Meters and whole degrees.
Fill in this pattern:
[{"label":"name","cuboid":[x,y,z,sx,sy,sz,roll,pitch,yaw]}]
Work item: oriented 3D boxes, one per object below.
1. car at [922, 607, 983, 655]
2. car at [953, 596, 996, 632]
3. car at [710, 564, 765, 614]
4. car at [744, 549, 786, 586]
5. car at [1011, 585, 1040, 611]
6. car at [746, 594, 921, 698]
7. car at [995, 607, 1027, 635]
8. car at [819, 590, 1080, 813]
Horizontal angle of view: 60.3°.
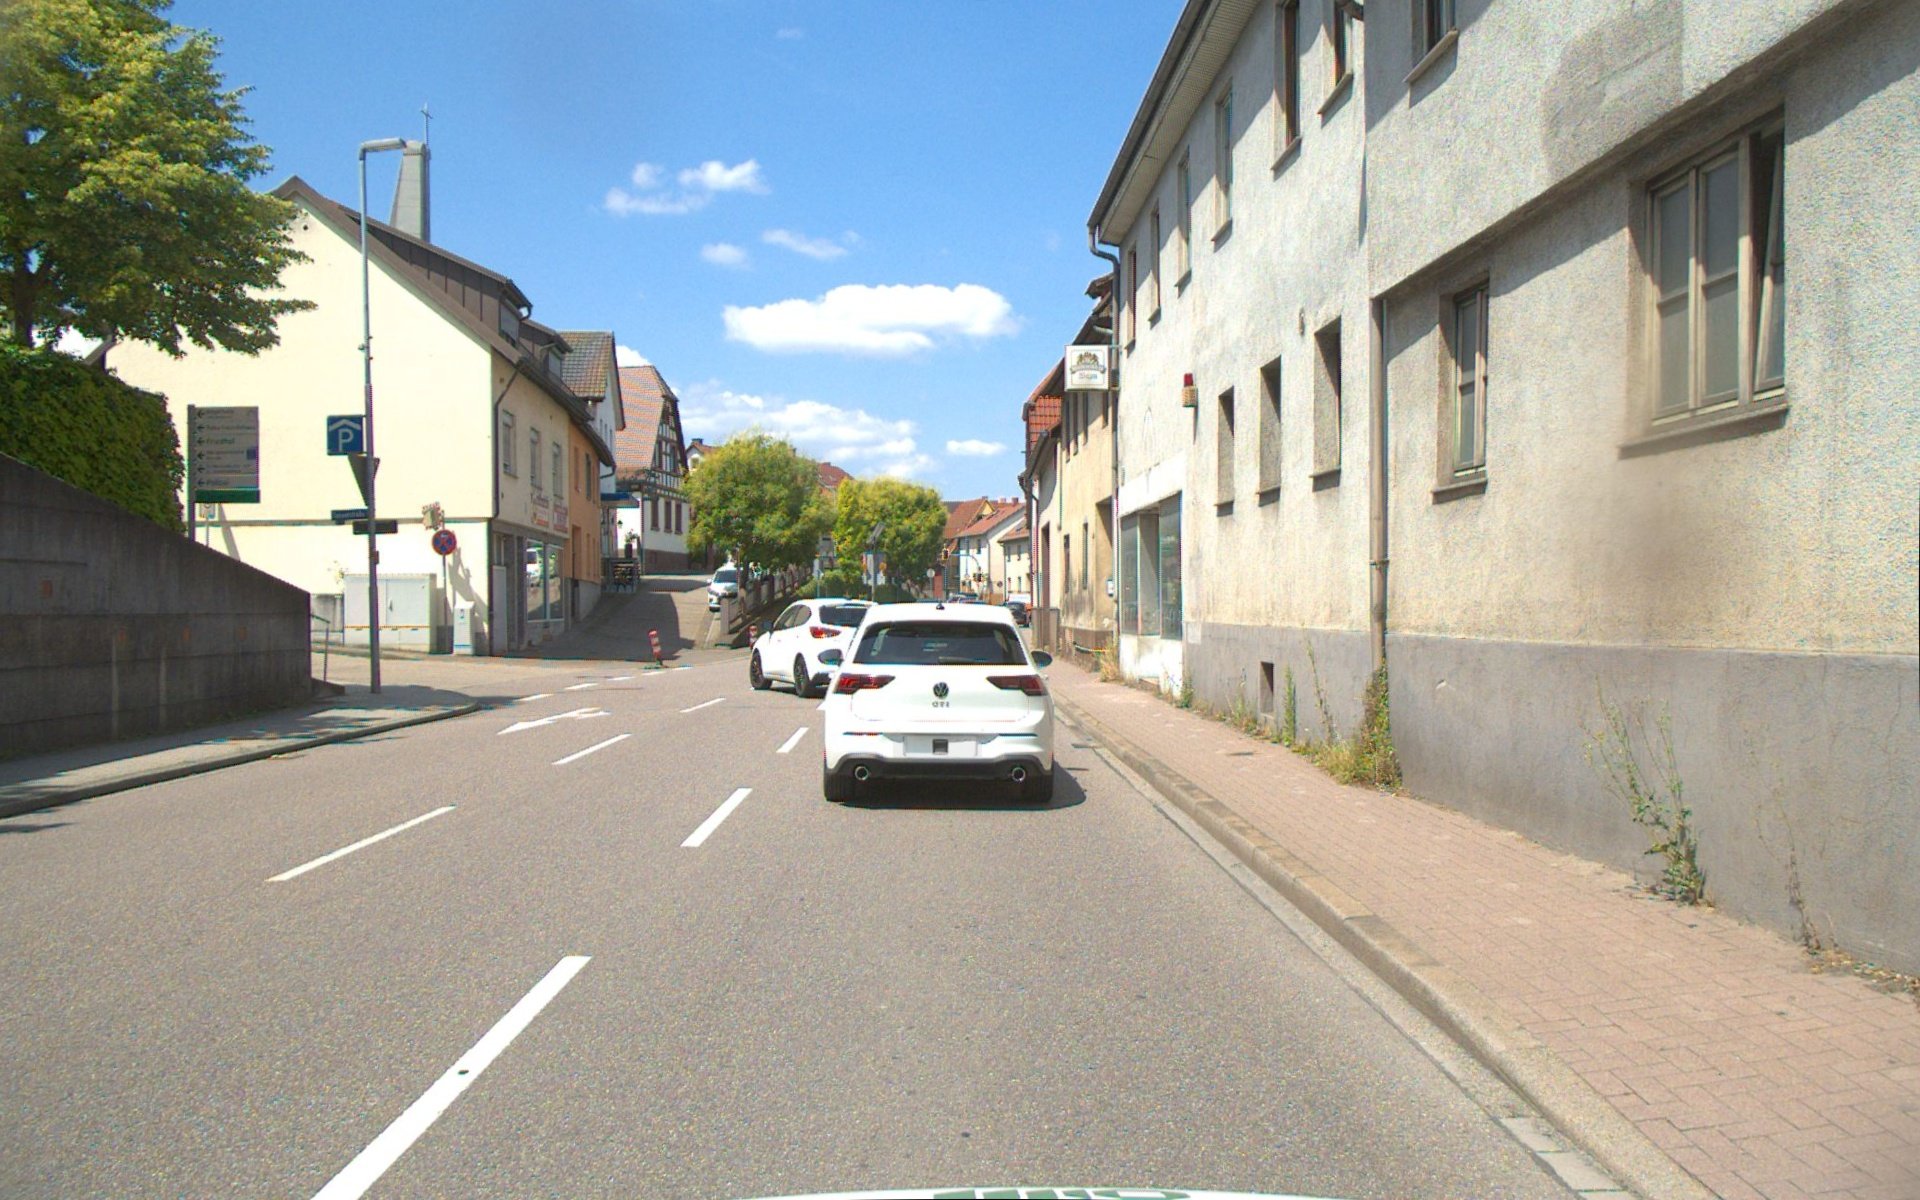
[{"label":"car","cuboid":[-0.217,1.023,55.520,1.770,1.493,4.001,2,0,3]},{"label":"car","cuboid":[0.679,0.615,73.762,1.738,1.565,4.001,0,0,3]},{"label":"car","cuboid":[-8.529,-0.454,63.630,1.659,1.569,3.857,0,6,-1]},{"label":"car","cuboid":[-8.938,-1.495,75.846,1.544,1.385,3.857,0,6,-1]},{"label":"car","cuboid":[4.483,-0.140,112.901,1.738,1.796,4.003,0,0,5]},{"label":"car","cuboid":[-2.084,0.674,26.148,1.781,1.493,3.977,2,0,-19]},{"label":"car","cuboid":[3.028,1.206,97.069,1.738,1.565,4.002,0,0,4]},{"label":"car","cuboid":[-0.050,0.717,13.492,1.770,1.493,4.000,2,0,1]}]
